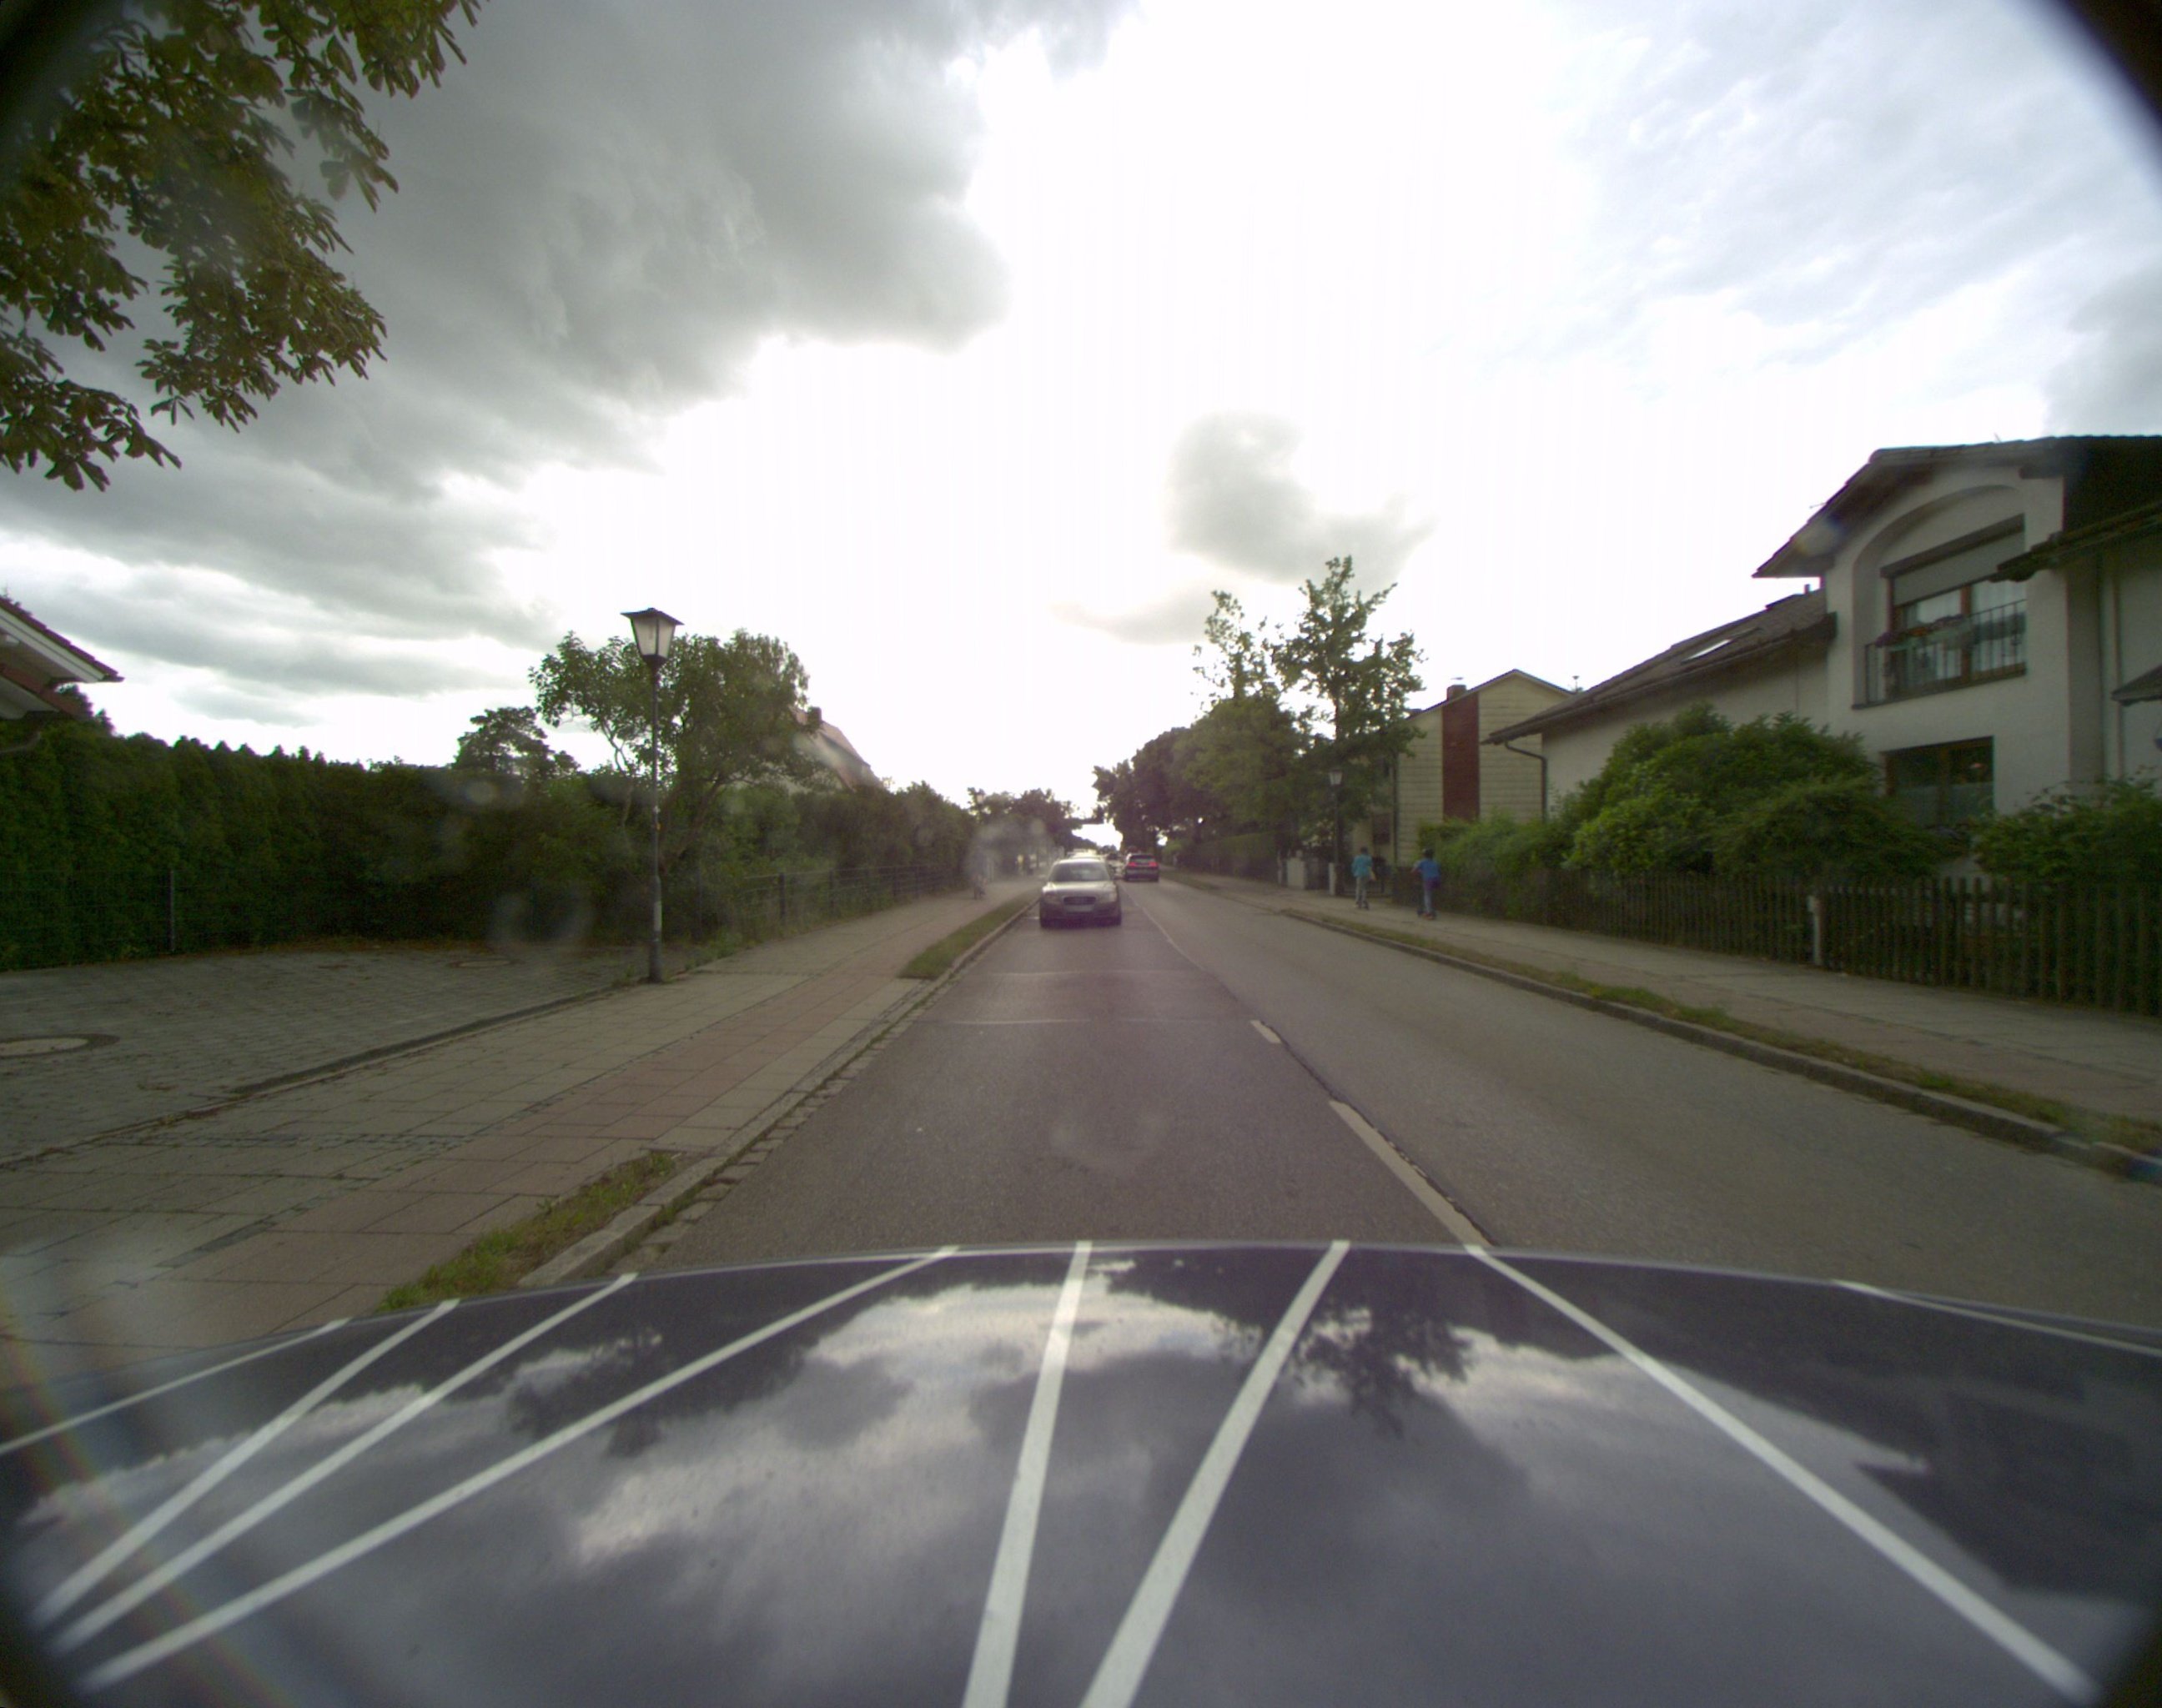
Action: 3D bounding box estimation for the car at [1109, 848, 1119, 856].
[{"bbox_3d":[7.271,-0.431,166.542,1.969,1.842,4.947,-1,0,1],"label":"car"}]

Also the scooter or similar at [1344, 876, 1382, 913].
[{"bbox_3d":[6.869,0.977,18.541,0.522,0.845,1.061,-1,0,1],"label":"scooter or similar"}]

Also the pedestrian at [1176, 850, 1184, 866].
[{"bbox_3d":[9.150,0.367,70.255,0.631,1.429,0.563,-1,1,0],"label":"pedestrian"}]

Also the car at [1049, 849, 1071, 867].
[{"bbox_3d":[-1.747,0.319,64.298,1.867,1.518,4.122,0,0,-1],"label":"car"}]

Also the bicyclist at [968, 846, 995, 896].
[{"bbox_3d":[-3.241,0.544,24.830,0.738,1.623,0.890,-1,1,1],"label":"bicyclist"}]

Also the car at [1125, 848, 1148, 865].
[{"bbox_3d":[5.859,0.239,81.029,1.999,1.739,3.999,-1,0,-2],"label":"car"}]

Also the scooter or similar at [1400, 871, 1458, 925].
[{"bbox_3d":[7.102,0.881,15.541,0.663,1.031,1.178,-1,0,2],"label":"scooter or similar"}]

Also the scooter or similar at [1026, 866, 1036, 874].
[{"bbox_3d":[-3.363,1.071,50.813,0.618,0.553,0.742,-1,0,-7],"label":"scooter or similar"}]

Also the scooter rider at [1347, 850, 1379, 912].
[{"bbox_3d":[6.868,0.653,18.547,0.504,1.481,0.716,-1,1,1],"label":"scooter rider"}]

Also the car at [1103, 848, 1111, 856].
[{"bbox_3d":[6.831,-0.494,197.826,1.904,1.873,5.010,-1,0,1],"label":"car"}]

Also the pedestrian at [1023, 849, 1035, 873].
[{"bbox_3d":[-3.526,0.489,51.518,0.793,1.592,0.671,-1,1,-2],"label":"pedestrian"}]

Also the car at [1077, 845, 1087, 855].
[{"bbox_3d":[0.256,-0.890,164.380,1.998,2.002,4.000,-1,0,0],"label":"car"}]

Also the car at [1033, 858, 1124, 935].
[{"bbox_3d":[-0.044,0.861,17.452,1.809,1.476,4.270,-1,0,0],"label":"car"}]

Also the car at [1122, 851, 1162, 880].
[{"bbox_3d":[3.450,0.647,43.664,1.935,1.566,4.311,0,0,0],"label":"car"}]

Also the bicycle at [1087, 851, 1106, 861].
[{"bbox_3d":[2.532,0.301,121.750,2.911,1.541,0.941,-1,1,23],"label":"bicycle"}]

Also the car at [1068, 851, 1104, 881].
[{"bbox_3d":[0.272,0.621,41.605,1.866,1.518,4.122,-1,0,0],"label":"car"}]

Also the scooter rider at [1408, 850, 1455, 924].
[{"bbox_3d":[7.105,0.664,15.415,0.664,1.464,0.581,-1,1,1],"label":"scooter rider"}]

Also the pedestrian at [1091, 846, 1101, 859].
[{"bbox_3d":[2.401,-0.258,121.791,1.252,2.002,1.023,-1,1,25],"label":"pedestrian"}]

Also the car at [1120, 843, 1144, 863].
[{"bbox_3d":[5.841,-0.111,86.978,2.246,2.258,4.469,-1,0,-2],"label":"car"}]

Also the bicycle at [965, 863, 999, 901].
[{"bbox_3d":[-3.202,0.894,24.766,0.766,1.136,1.845,-1,0,2],"label":"bicycle"}]

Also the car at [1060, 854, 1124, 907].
[{"bbox_3d":[0.332,0.779,25.006,1.866,1.518,4.942,-1,0,0],"label":"car"}]
